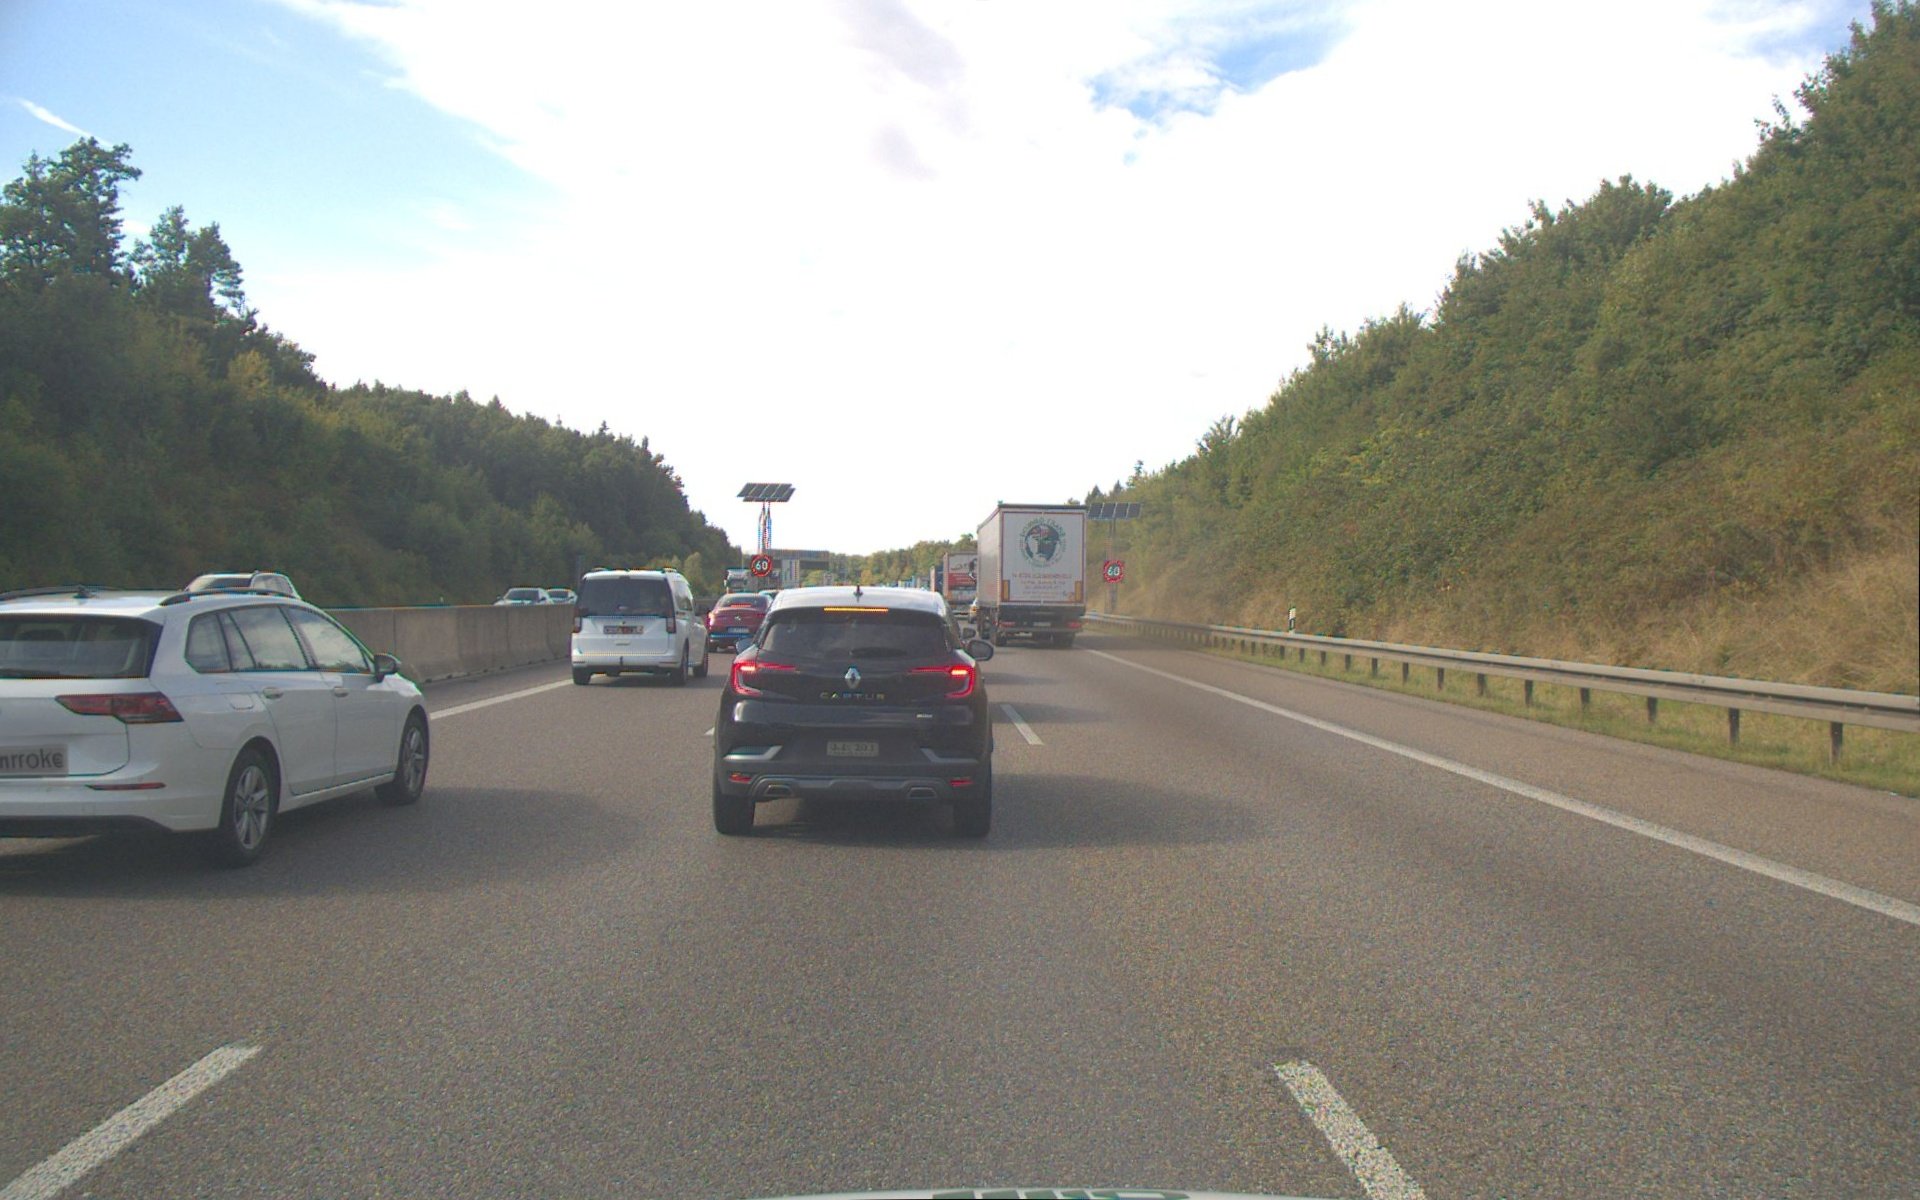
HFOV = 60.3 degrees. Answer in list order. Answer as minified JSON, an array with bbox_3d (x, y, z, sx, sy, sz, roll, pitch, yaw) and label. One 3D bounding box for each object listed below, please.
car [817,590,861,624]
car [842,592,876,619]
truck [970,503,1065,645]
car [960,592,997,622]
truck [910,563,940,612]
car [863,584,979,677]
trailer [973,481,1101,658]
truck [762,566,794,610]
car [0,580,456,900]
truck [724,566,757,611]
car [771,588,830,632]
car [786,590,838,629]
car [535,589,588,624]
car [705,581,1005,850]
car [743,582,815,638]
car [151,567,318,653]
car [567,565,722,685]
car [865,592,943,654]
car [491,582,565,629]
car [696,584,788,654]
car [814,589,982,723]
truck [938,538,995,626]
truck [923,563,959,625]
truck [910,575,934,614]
[{"bbox_3d":[-6.072,0.334,83.182,1.953,1.641,3.999,1,0,-1],"label":"car"},{"bbox_3d":[-6.488,0.330,106.562,1.953,1.641,3.999,1,0,-1],"label":"car"},{"bbox_3d":[1.950,-0.877,58.523,2.936,4.749,5.937,1,0,-2],"label":"truck"},{"bbox_3d":[0.970,0.373,88.634,1.768,1.559,3.923,1,0,-2],"label":"car"},{"bbox_3d":[-4.156,-1.392,197.769,3.101,5.601,12.738,1,0,1],"label":"truck"},{"bbox_3d":[-0.690,0.527,30.032,1.953,1.540,3.999,1,0,-1],"label":"car"},{"bbox_3d":[2.153,-0.850,51.478,2.941,4.742,13.285,1,0,-2],"label":"trailer"},{"bbox_3d":[-21.625,-1.416,196.869,2.832,5.021,10.077,1,0,-2],"label":"truck"},{"bbox_3d":[-4.555,0.658,9.869,1.768,1.486,4.308,1,0,0],"label":"car"},{"bbox_3d":[-26.456,-1.371,199.433,2.832,5.182,10.077,1,0,-2],"label":"truck"},{"bbox_3d":[-6.229,0.389,64.944,1.953,1.641,3.999,1,0,-1],"label":"car"},{"bbox_3d":[-6.434,0.430,72.474,1.953,1.641,3.999,1,0,-1],"label":"car"},{"bbox_3d":[-21.801,0.319,90.641,1.815,1.841,4.923,1,0,-2],"label":"car"},{"bbox_3d":[-0.587,0.685,11.797,1.767,1.579,4.000,0,0,1],"label":"car"},{"bbox_3d":[-5.902,0.333,54.371,1.953,1.752,3.999,1,0,-1],"label":"car"},{"bbox_3d":[-16.733,0.209,38.435,1.815,1.841,4.923,1,0,-2],"label":"car"},{"bbox_3d":[-5.176,0.402,27.678,1.873,1.821,4.415,1,0,-2],"label":"car"},{"bbox_3d":[-1.440,0.597,43.947,1.953,1.540,3.999,1,0,-1],"label":"car"},{"bbox_3d":[-17.633,0.213,67.750,1.815,1.841,4.923,1,0,-2],"label":"car"},{"bbox_3d":[-5.509,0.483,42.212,1.818,1.669,3.925,1,0,0],"label":"car"},{"bbox_3d":[-0.754,0.666,21.404,1.953,1.540,3.999,1,0,-1],"label":"car"},{"bbox_3d":[0.317,-1.034,103.962,3.296,5.132,12.735,1,0,-1],"label":"truck"},{"bbox_3d":[-1.788,-0.494,155.926,3.102,5.601,12.735,1,0,-1],"label":"truck"},{"bbox_3d":[-5.329,-0.739,232.300,3.102,5.250,12.735,1,0,-1],"label":"truck"}]
